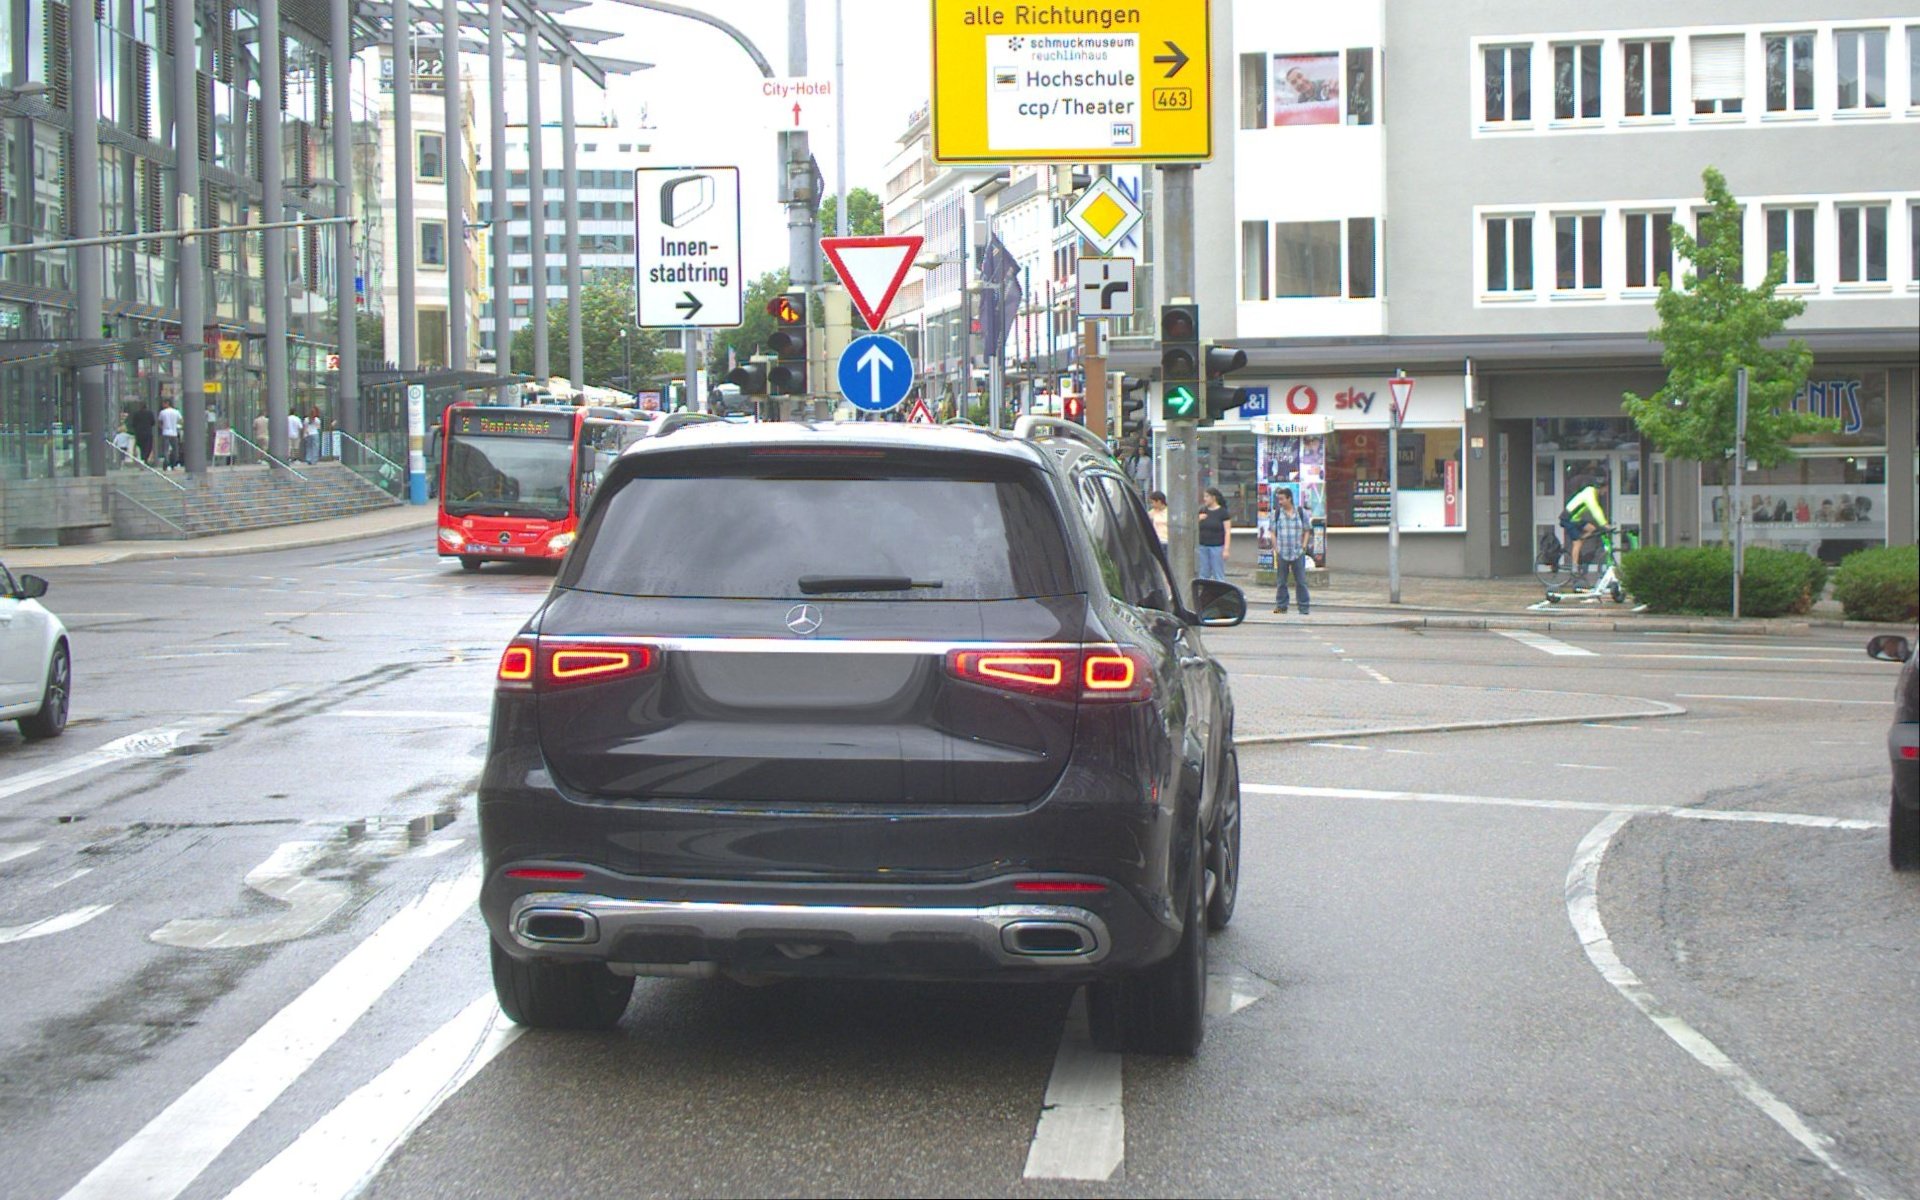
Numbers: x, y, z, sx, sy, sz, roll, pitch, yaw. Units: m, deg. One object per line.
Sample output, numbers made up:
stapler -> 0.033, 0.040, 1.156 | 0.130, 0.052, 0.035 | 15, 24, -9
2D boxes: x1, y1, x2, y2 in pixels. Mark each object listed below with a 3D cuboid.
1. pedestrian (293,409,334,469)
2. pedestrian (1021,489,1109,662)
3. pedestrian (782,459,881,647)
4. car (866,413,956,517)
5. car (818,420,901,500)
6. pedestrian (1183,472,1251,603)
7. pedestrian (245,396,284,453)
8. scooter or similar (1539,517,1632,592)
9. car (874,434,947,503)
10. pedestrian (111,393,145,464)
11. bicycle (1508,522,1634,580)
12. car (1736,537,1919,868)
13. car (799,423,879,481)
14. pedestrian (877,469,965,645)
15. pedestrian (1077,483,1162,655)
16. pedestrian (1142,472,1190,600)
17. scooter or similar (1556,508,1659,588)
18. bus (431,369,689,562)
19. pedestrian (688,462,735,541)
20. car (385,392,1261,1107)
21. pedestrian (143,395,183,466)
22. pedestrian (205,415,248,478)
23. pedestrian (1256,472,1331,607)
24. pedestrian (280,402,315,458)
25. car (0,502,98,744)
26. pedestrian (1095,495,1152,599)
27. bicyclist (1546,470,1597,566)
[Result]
pedestrian -> -18.764, -4.662, 99.800 | 1.038, 1.707, 1.008 | 1, 2, -5
pedestrian -> 0.925, -0.216, 30.211 | 0.705, 1.482, 0.560 | 2, 1, 5
pedestrian -> -1.191, -0.441, 31.976 | 0.784, 1.705, 0.707 | 2, 1, 5
car -> -1.505, -4.020, 102.492 | 2.444, 2.947, 6.154 | 2, 2, -2
car -> -4.481, -6.276, 154.416 | 2.445, 3.453, 6.151 | 2, 2, 10
pedestrian -> 3.370, -0.822, 45.007 | 0.781, 1.683, 0.638 | 2, 2, 9
pedestrian -> -21.239, -5.362, 105.014 | 1.038, 1.707, 1.008 | 1, 2, -5
scooter or similar -> 9.906, -0.727, 54.439 | 1.381, 1.183, 0.543 | 1, 2, 20
car -> -1.397, -3.669, 95.938 | 1.860, 1.819, 4.104 | 2, 2, -3
pedestrian -> -20.246, -4.162, 83.656 | 0.680, 1.707, 0.850 | 1, 2, -5
bicycle -> 10.851, -0.878, 61.037 | 2.139, 0.989, 0.694 | 1, 2, 14
car -> 4.996, 0.450, 16.593 | 1.717, 1.415, 3.770 | 3, 1, 2
car -> -3.937, -4.826, 112.474 | 2.422, 1.774, 5.155 | 2, 2, 0
pedestrian -> -0.381, -0.422, 33.851 | 0.756, 1.686, 0.693 | 2, 0, 5
pedestrian -> 1.490, -0.296, 32.056 | 0.713, 1.563, 0.854 | 2, 1, 5
pedestrian -> 2.705, -0.839, 45.035 | 0.569, 1.663, 0.501 | 1, 2, 7
scooter or similar -> 10.571, -0.855, 56.104 | 1.498, 1.252, 0.930 | 2, 2, 20
bus -> -7.721, -2.646, 69.315 | 2.920, 3.309, 18.480 | 1, 2, 0
pedestrian -> -6.059, -2.406, 83.950 | 0.955, 1.880, 0.810 | 2, 2, 7
car -> -0.159, 0.262, 11.180 | 2.088, 1.810, 4.792 | 0, 3, 7
pedestrian -> -19.414, -4.114, 83.747 | 0.827, 1.707, 0.802 | 1, 2, -5
pedestrian -> -20.299, -4.239, 95.112 | 1.038, 1.707, 1.008 | 1, 2, -5
pedestrian -> 4.473, -0.821, 46.141 | 0.829, 1.772, 0.618 | 2, 2, -6
pedestrian -> -20.263, -5.195, 105.142 | 0.937, 1.707, 0.992 | 1, 2, -5
car -> -6.627, 0.144, 20.650 | 1.792, 1.411, 4.632 | 0, 2, -1
pedestrian -> 2.139, -0.698, 45.099 | 0.630, 1.335, 0.588 | 2, 2, -6
bicyclist -> 10.848, -1.462, 61.018 | 0.845, 1.698, 0.622 | 0, 2, 14
